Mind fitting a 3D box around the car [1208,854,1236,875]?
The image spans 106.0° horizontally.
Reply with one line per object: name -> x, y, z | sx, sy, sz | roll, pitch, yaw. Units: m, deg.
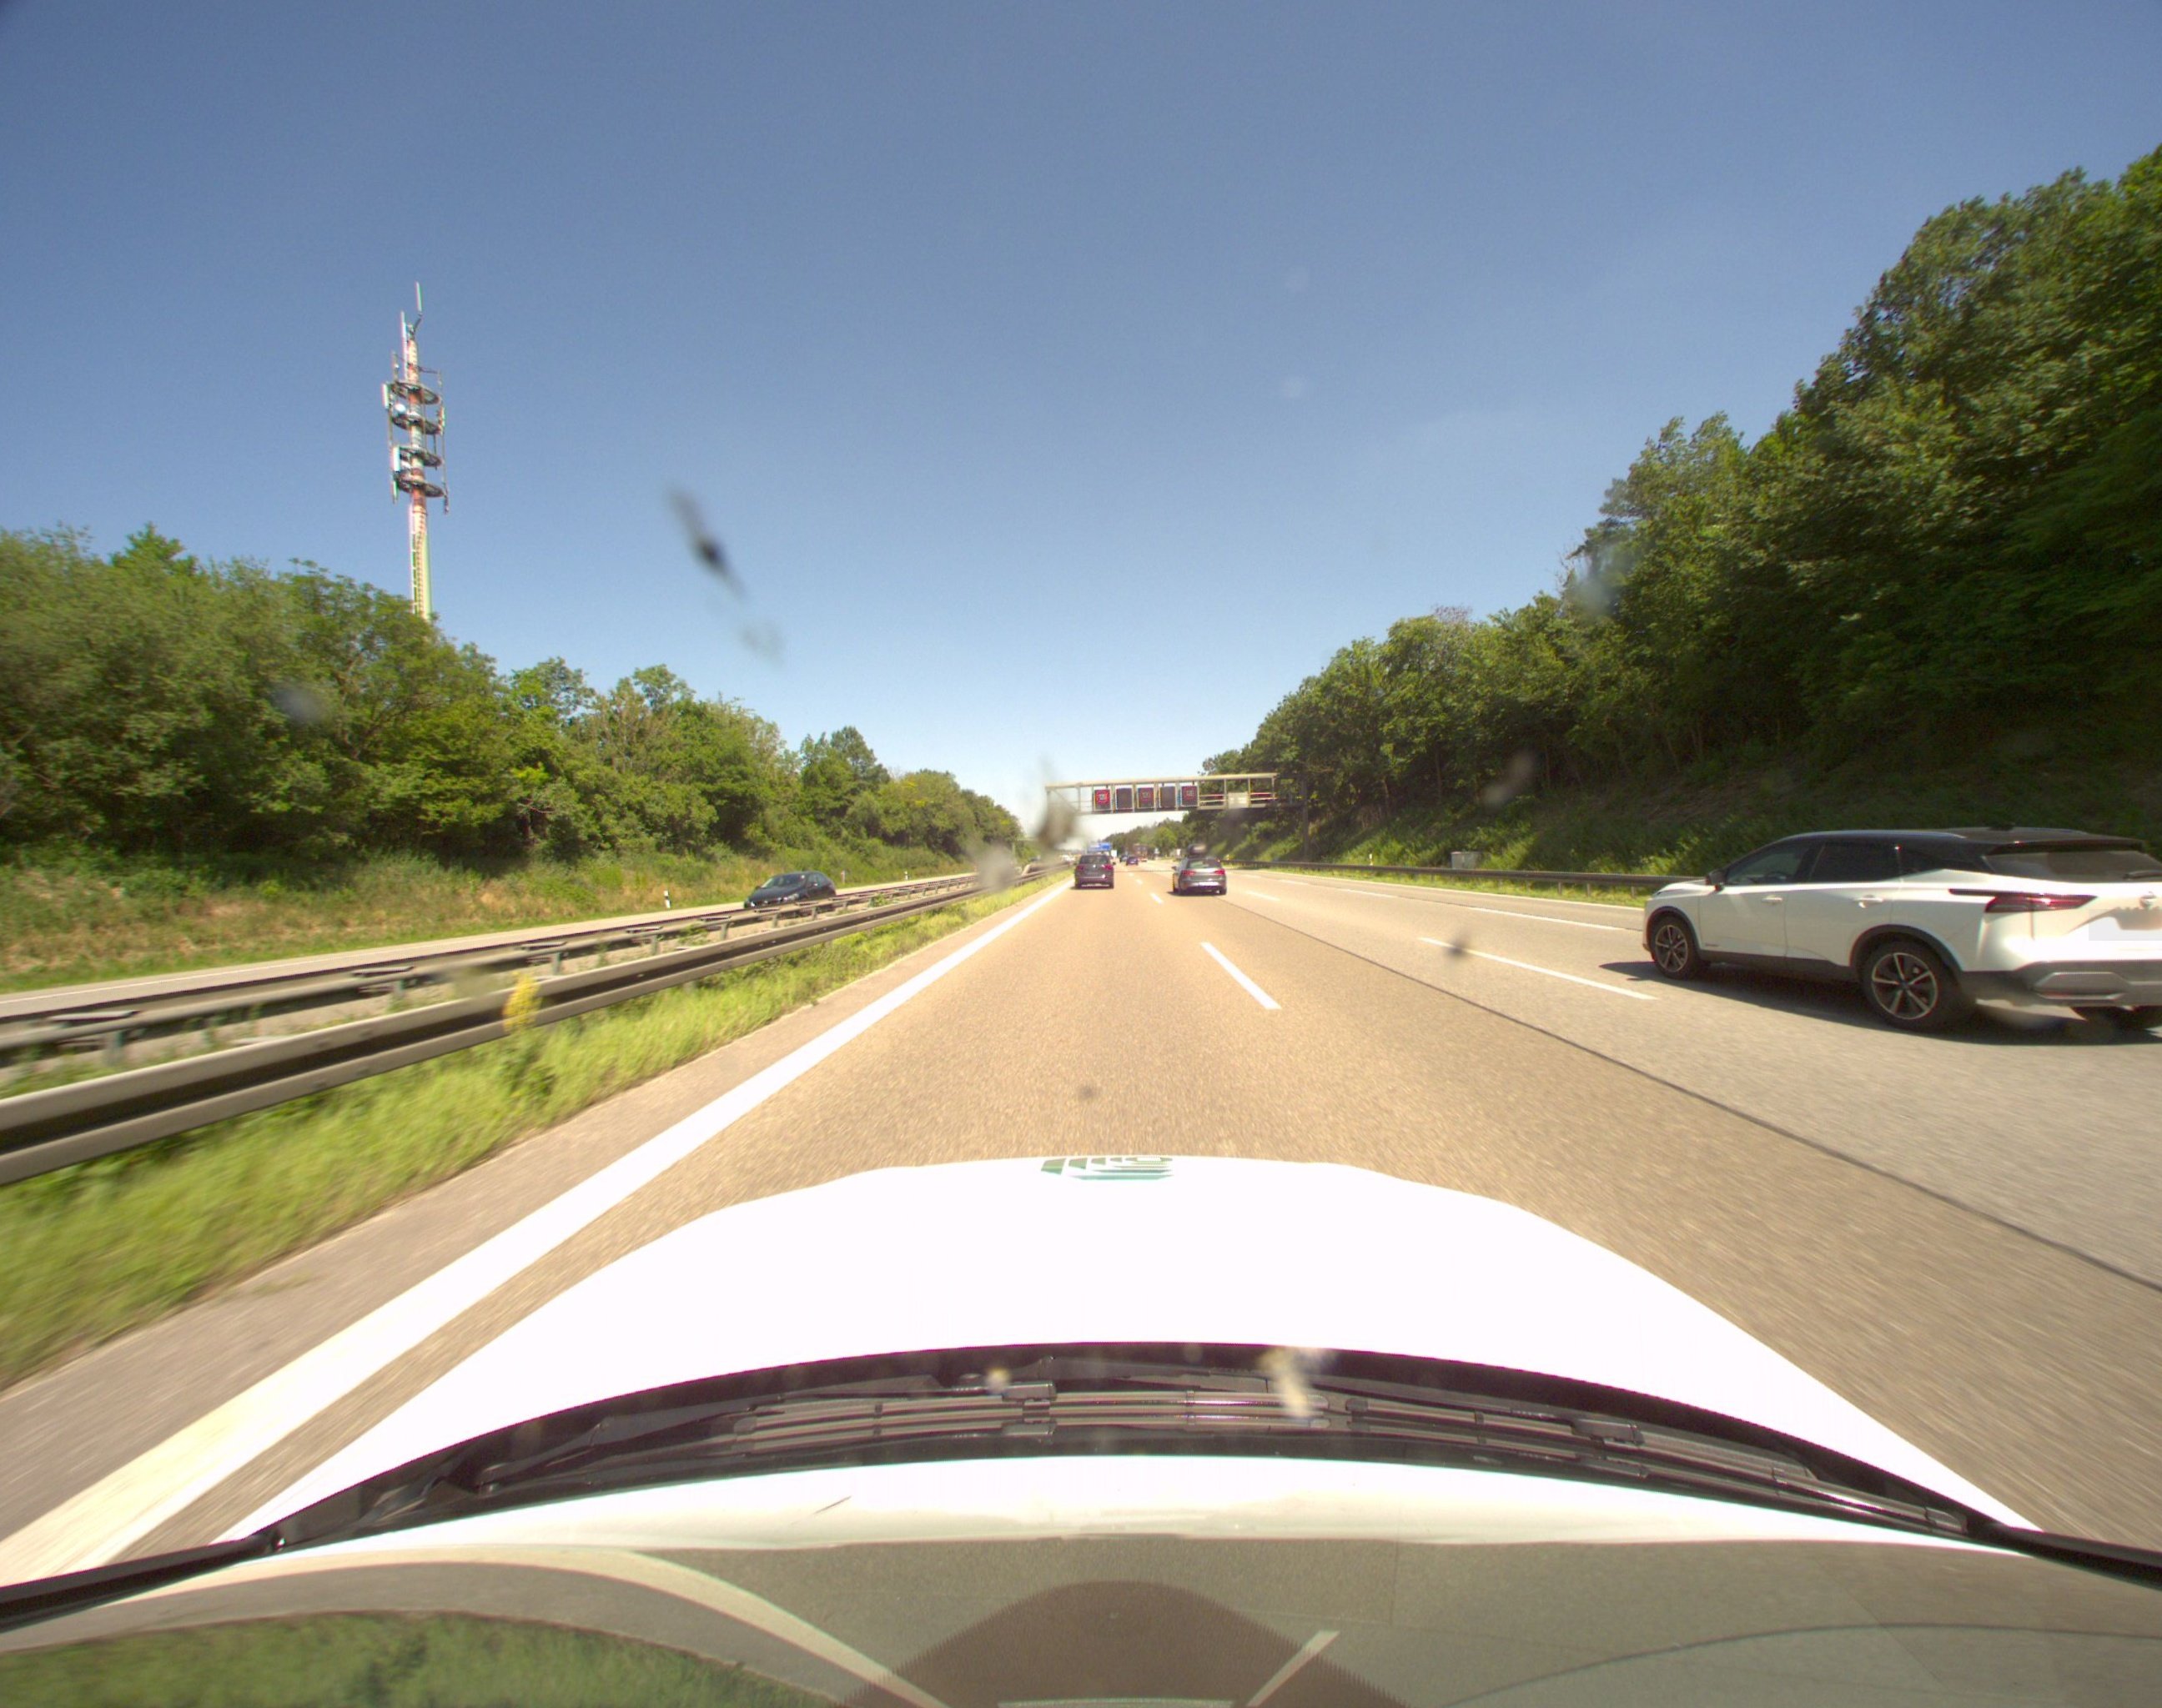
car -> 11.267, 0.812, 65.460 | 1.757, 1.568, 4.262 | -1, 0, 4

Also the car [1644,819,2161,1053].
car -> 7.475, 0.544, 7.541 | 1.836, 1.568, 4.038 | -1, 0, 2

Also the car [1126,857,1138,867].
car -> 7.500, 1.158, 119.547 | 1.757, 1.381, 4.262 | -1, 0, 4

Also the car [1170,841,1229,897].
car -> 4.440, 0.528, 31.196 | 1.658, 1.876, 4.830 | -3, 0, 2

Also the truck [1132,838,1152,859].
truck -> 13.593, -1.222, 182.852 | 3.767, 4.422, 14.053 | -1, 0, 1

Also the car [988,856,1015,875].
car -> -7.540, 1.103, 77.788 | 1.800, 1.642, 4.802 | -4, 0, 2

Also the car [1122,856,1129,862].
car -> 9.390, 1.049, 172.611 | 1.466, 1.398, 3.411 | 1, 0, 1

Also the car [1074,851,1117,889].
car -> 0.738, 0.693, 38.375 | 1.791, 1.669, 4.262 | -1, 0, 4

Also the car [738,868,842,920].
car -> -9.264, 1.226, 26.303 | 1.707, 1.398, 4.151 | -3, 0, 2

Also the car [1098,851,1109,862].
car -> 4.493, 0.500, 161.364 | 1.986, 2.013, 4.002 | -1, 0, 2
